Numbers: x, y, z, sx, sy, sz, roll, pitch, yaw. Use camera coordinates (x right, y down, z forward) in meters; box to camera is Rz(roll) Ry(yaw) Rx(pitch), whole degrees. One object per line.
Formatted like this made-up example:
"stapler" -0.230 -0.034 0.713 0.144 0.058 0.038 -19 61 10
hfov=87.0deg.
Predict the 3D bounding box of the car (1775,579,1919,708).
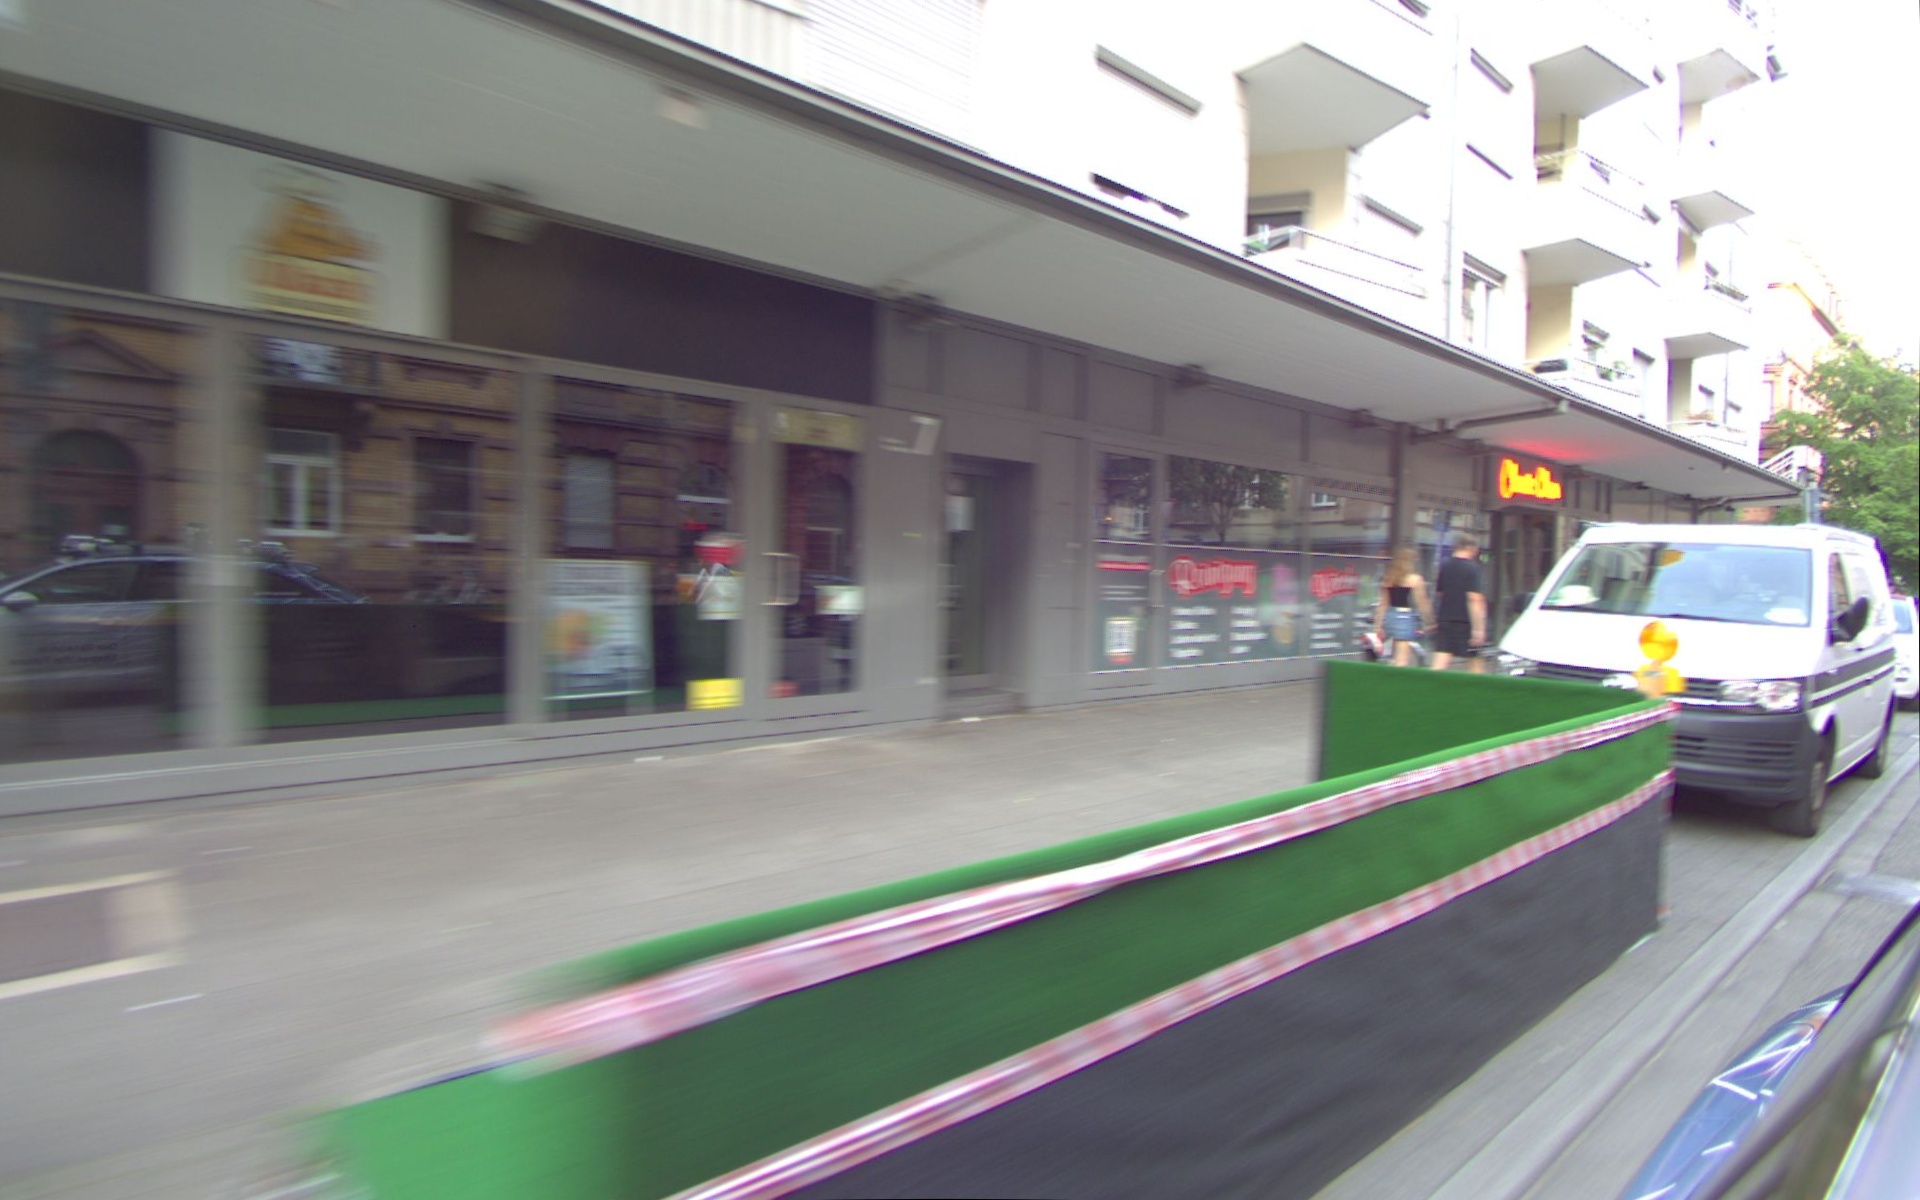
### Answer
"car" 12.726 0.510 14.145 3.367 1.519 1.594 -1 4 -44

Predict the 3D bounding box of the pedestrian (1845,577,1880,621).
"pedestrian" 34.293 -0.038 38.462 0.850 1.627 0.540 2 1 -15

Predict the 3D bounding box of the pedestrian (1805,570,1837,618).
"pedestrian" 34.440 -0.242 40.474 0.892 1.891 0.676 -1 2 -27

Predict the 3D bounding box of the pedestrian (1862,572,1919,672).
"pedestrian" 15.790 0.358 17.010 0.637 1.619 0.591 2 3 9

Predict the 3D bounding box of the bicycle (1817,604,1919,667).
"bicycle" 17.010 0.643 18.833 0.501 1.014 1.485 -1 4 -34

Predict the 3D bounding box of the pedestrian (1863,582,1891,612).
"pedestrian" 40.386 -0.142 44.593 0.715 1.321 0.744 2 2 29

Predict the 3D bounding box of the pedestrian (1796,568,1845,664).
"pedestrian" 15.383 0.274 18.098 0.560 1.651 0.716 5 3 42

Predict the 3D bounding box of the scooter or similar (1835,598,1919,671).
"scooter or similar" 16.126 0.586 17.728 1.160 1.185 0.529 4 2 42

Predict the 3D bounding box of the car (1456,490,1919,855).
"car" 5.975 0.325 7.887 4.915 1.997 1.963 0 4 -41

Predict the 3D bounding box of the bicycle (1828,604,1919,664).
"bicycle" 17.367 0.638 19.100 0.502 0.995 1.419 -2 5 -44

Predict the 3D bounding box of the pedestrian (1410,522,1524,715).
"pedestrian" 5.137 0.149 10.265 0.846 1.850 0.710 -2 4 -42

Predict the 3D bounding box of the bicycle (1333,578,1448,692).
"bicycle" 5.271 0.376 12.325 0.907 1.210 1.690 4 4 35

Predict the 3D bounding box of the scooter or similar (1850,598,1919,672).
"scooter or similar" 15.777 0.592 16.981 1.141 1.185 0.537 3 1 -2

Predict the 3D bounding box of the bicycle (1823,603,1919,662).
"bicycle" 17.779 0.618 19.593 0.502 1.013 1.549 -2 5 -44

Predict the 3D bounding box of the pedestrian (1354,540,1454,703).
"pedestrian" 4.835 0.201 11.033 0.732 1.685 0.710 -2 4 -42
